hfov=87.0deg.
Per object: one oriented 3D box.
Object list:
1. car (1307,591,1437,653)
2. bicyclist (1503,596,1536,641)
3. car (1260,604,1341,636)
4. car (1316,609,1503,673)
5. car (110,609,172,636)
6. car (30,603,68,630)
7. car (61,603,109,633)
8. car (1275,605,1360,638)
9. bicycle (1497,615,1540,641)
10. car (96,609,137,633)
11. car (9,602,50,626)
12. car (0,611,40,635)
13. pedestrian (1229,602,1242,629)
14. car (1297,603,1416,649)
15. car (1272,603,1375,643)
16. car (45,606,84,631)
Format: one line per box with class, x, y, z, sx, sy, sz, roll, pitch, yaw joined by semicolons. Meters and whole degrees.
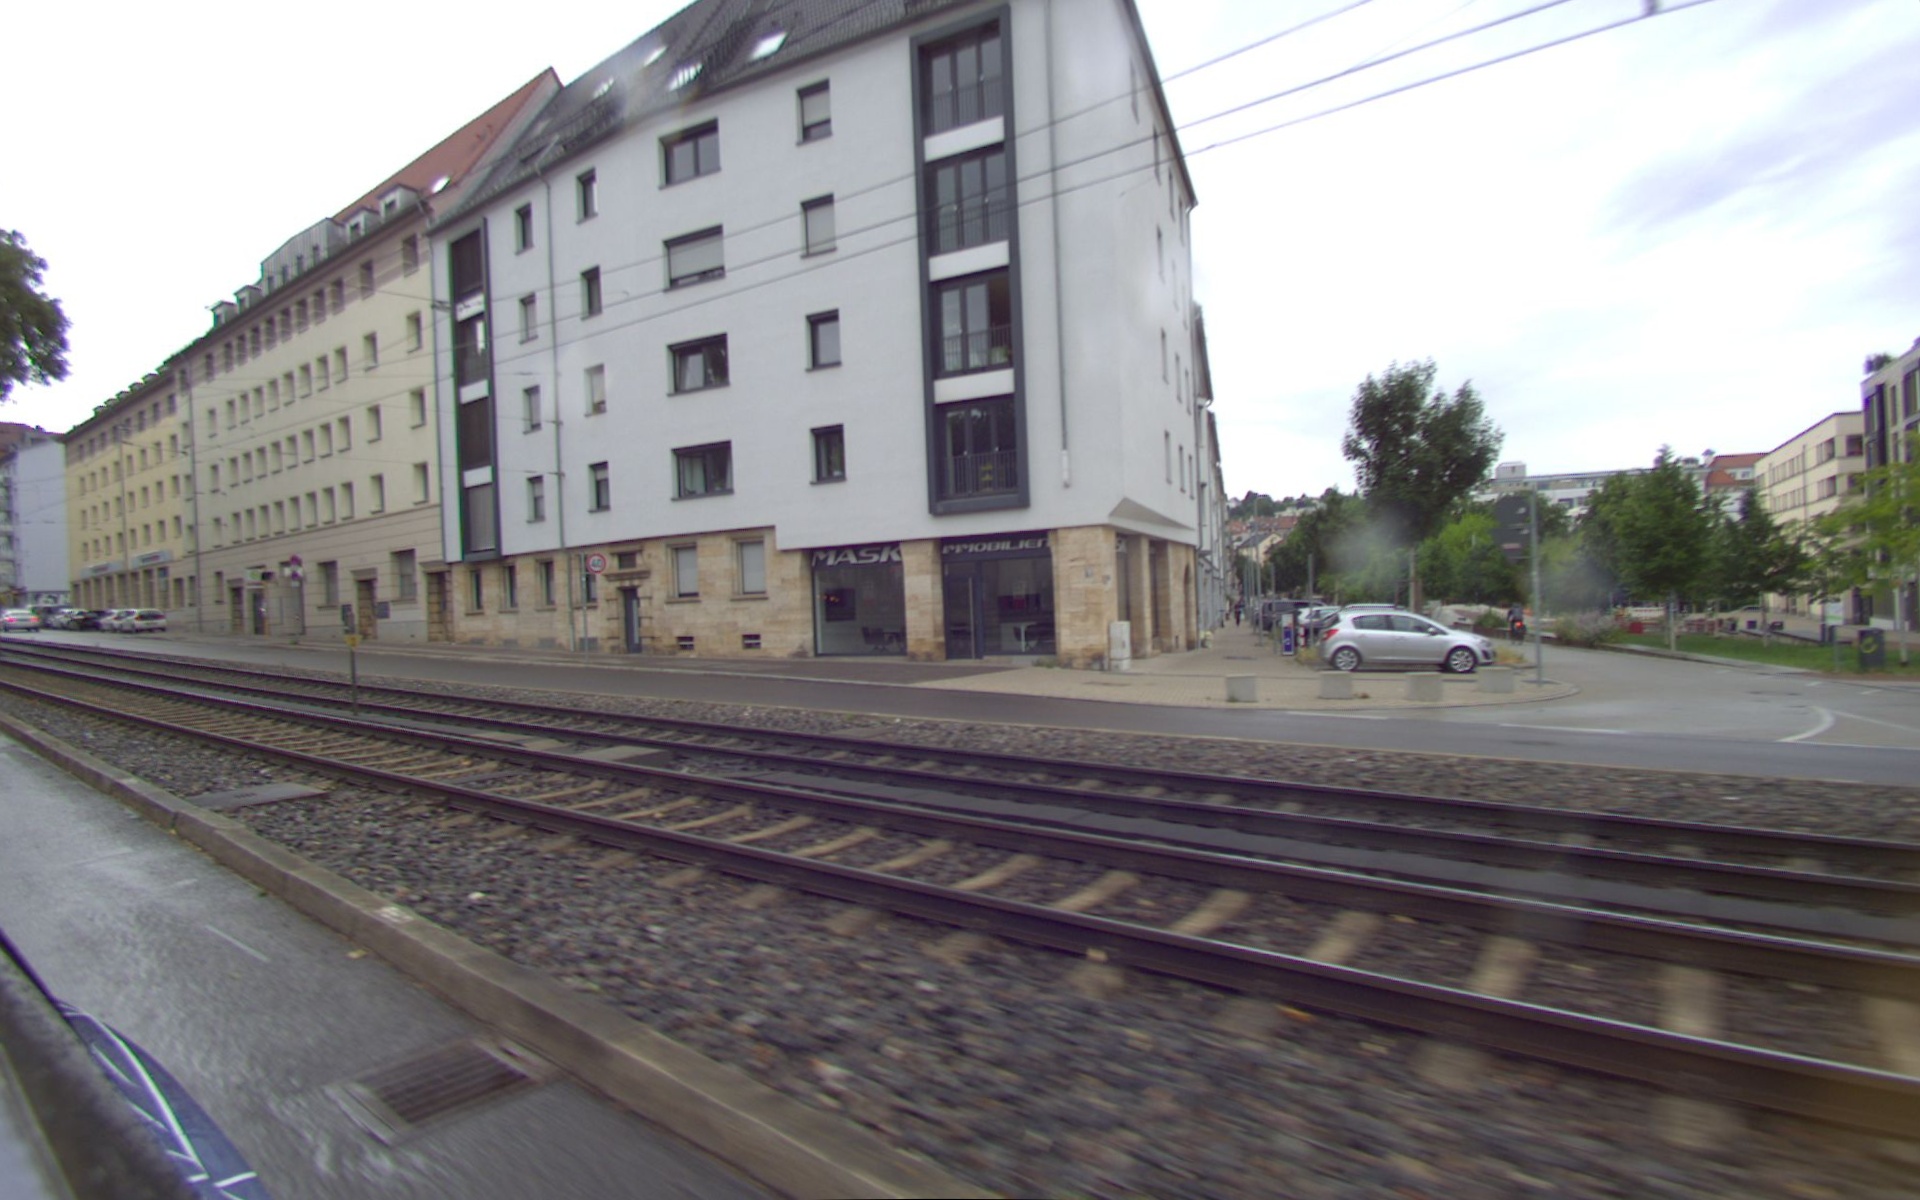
car;14.040;0.751;34.729;3.968;2.029;1.929;0;-1;19
bicyclist;23.082;0.754;41.764;0.889;1.818;0.788;0;0;2
car;17.951;1.043;53.500;3.968;1.630;1.929;0;-1;19
car;10.631;0.939;24.206;3.881;1.431;1.593;0;0;16
car;-50.422;1.339;62.308;3.992;1.554;2.007;0;0;36
car;-67.718;1.211;75.221;4.037;1.897;1.538;0;0;39
car;-59.691;1.227;69.028;4.293;1.975;1.708;0;0;38
car;18.021;1.073;51.091;3.969;1.630;1.928;0;-1;20
bicycle;23.146;1.134;41.950;0.725;1.036;2.010;0;0;2
car;-54.003;1.331;64.789;3.185;1.495;1.311;0;0;36
car;-72.943;1.112;79.311;3.585;1.822;1.707;0;0;36
car;-64.032;1.549;68.583;5.009;1.548;1.671;-1;0;37
pedestrian;20.925;1.212;76.822;0.927;2.029;1.173;-1;-1;15
car;14.603;0.949;37.474;3.968;1.630;1.929;0;-1;19
car;15.173;0.940;42.451;3.968;1.630;1.929;0;-1;19
car;-64.059;1.304;72.382;3.399;1.766;1.361;0;0;36
